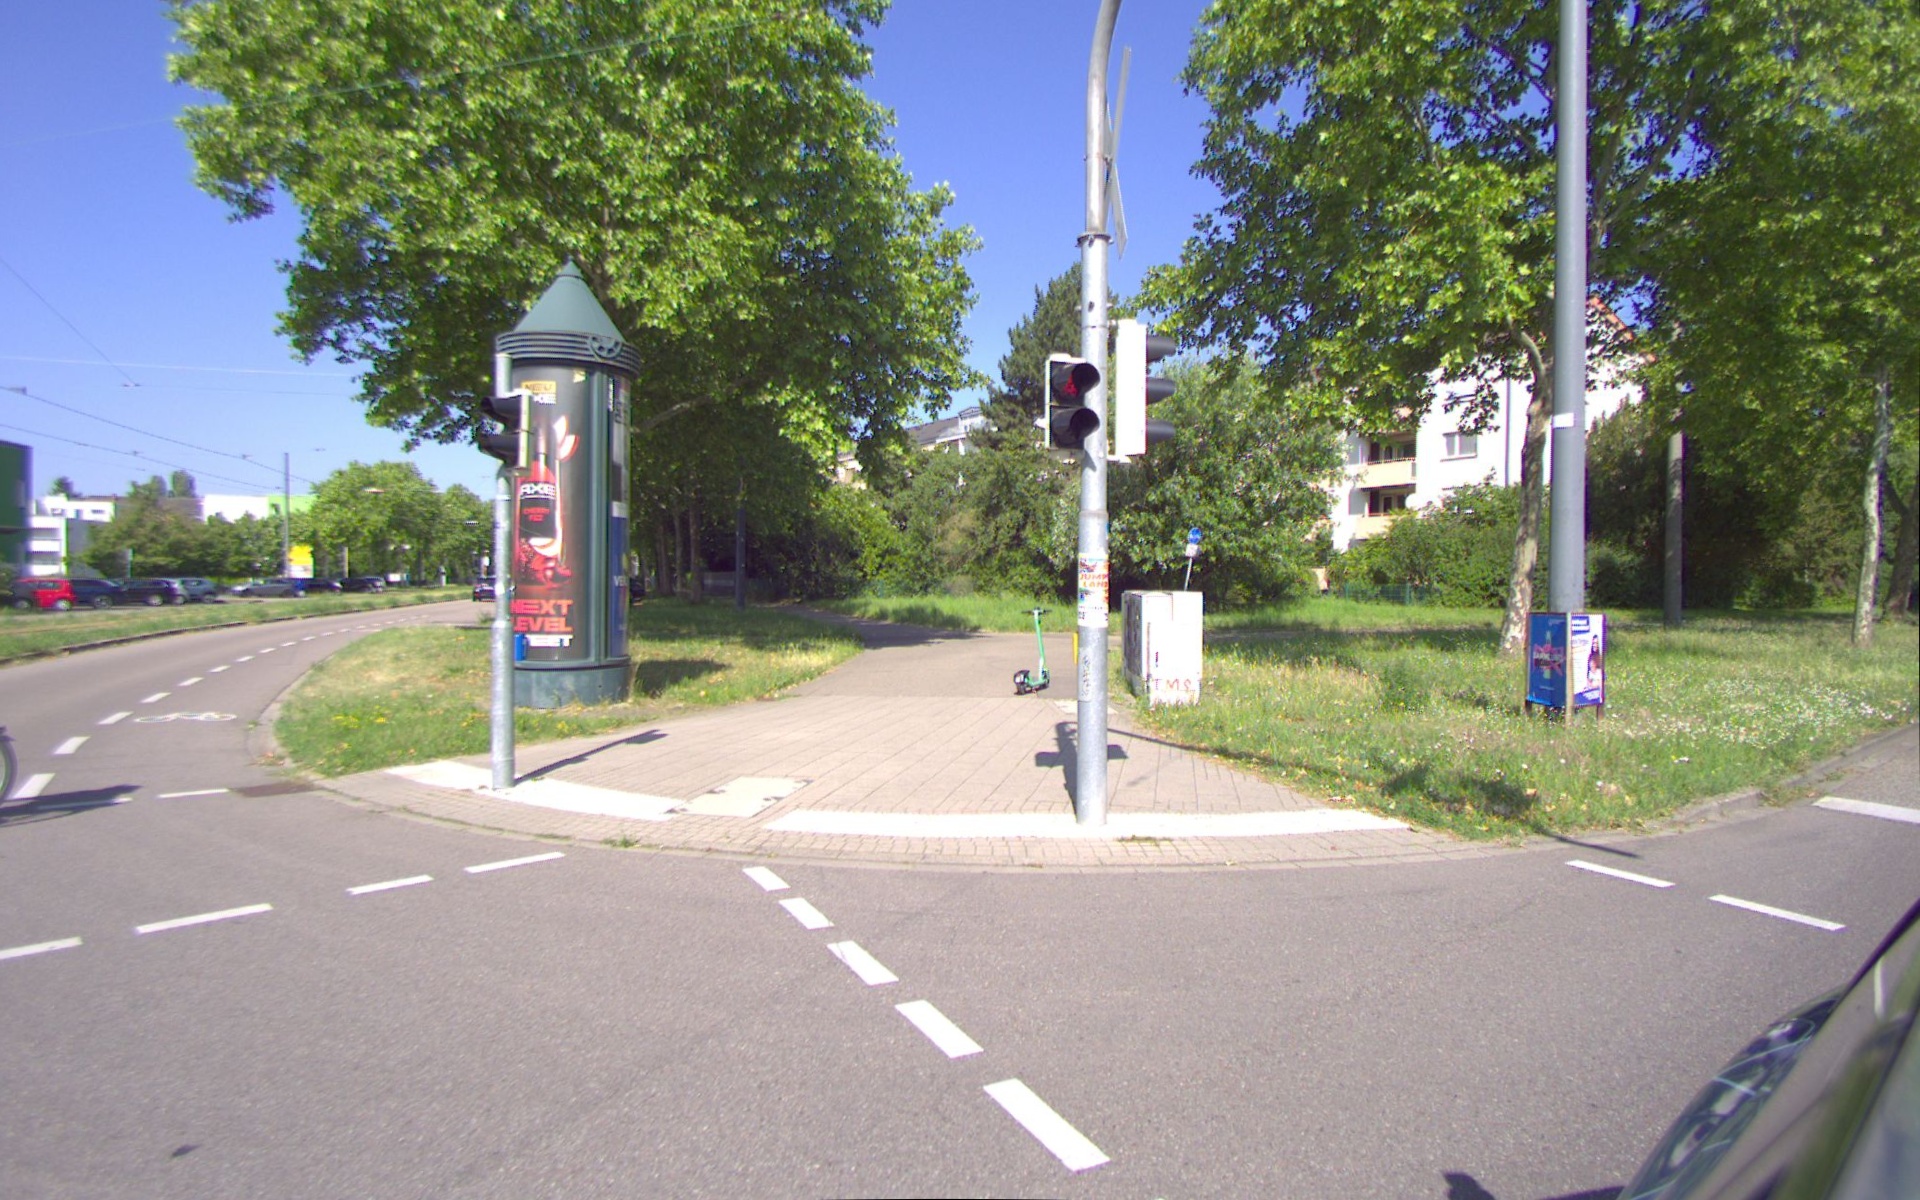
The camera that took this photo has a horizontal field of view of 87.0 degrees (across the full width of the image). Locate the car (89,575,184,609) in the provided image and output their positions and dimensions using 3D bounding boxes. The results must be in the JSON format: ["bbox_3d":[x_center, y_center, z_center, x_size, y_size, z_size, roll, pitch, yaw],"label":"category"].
[{"bbox_3d":[-46.731,-0.454,57.471,1.992,1.816,3.939,-1,0,43],"label":"car"}]

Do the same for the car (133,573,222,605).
[{"bbox_3d":[-46.879,-0.651,60.674,1.992,1.816,3.939,-1,0,43],"label":"car"}]

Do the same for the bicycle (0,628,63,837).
[{"bbox_3d":[-6.394,0.768,5.553,0.690,1.200,2.094,1,-1,39],"label":"bicycle"}]

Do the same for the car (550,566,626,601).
[{"bbox_3d":[-24.615,-1.126,66.945,4.496,2.236,2.003,0,1,-28],"label":"car"}]

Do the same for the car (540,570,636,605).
[{"bbox_3d":[-18.393,-0.626,50.043,4.266,1.653,2.003,0,1,-28],"label":"car"}]

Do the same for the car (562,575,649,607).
[{"bbox_3d":[-19.461,-0.520,55.522,4.266,1.653,2.003,0,1,-28],"label":"car"}]

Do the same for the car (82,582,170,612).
[{"bbox_3d":[-44.951,-0.192,54.579,1.559,1.555,3.400,1,2,36],"label":"car"}]

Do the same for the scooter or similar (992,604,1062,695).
[{"bbox_3d":[0.966,0.668,14.225,0.511,1.156,1.435,-1,1,24],"label":"scooter or similar"}]

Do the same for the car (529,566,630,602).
[{"bbox_3d":[-17.926,-0.750,47.737,4.266,1.653,2.003,0,0,-28],"label":"car"}]

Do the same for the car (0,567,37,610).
[{"bbox_3d":[-41.966,-0.468,42.966,1.992,1.816,3.939,-1,0,43],"label":"car"}]

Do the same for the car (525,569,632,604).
[{"bbox_3d":[-17.056,-0.607,45.240,4.266,1.509,2.003,0,1,-28],"label":"car"}]

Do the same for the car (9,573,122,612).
[{"bbox_3d":[-43.233,-0.370,48.947,1.992,1.816,3.939,-1,0,43],"label":"car"}]

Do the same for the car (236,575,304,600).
[{"bbox_3d":[-52.494,-0.973,77.052,1.993,1.816,3.939,1,1,43],"label":"car"}]

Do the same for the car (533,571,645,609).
[{"bbox_3d":[-15.727,-0.446,42.933,4.266,1.509,2.003,0,1,-28],"label":"car"}]

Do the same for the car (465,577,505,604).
[{"bbox_3d":[-29.863,-0.592,63.747,1.756,1.676,4.008,0,0,-18],"label":"car"}]

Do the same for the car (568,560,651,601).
[{"bbox_3d":[-20.345,-1.126,58.771,4.494,2.318,2.004,0,1,-22],"label":"car"}]

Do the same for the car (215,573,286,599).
[{"bbox_3d":[-51.692,-0.989,73.771,1.992,1.816,3.939,-1,0,43],"label":"car"}]

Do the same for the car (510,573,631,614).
[{"bbox_3d":[-15.388,-0.285,40.013,4.266,1.509,2.003,-1,2,-28],"label":"car"}]

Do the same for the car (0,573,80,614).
[{"bbox_3d":[-42.606,-0.281,45.862,1.992,1.816,3.939,-1,0,43],"label":"car"}]
